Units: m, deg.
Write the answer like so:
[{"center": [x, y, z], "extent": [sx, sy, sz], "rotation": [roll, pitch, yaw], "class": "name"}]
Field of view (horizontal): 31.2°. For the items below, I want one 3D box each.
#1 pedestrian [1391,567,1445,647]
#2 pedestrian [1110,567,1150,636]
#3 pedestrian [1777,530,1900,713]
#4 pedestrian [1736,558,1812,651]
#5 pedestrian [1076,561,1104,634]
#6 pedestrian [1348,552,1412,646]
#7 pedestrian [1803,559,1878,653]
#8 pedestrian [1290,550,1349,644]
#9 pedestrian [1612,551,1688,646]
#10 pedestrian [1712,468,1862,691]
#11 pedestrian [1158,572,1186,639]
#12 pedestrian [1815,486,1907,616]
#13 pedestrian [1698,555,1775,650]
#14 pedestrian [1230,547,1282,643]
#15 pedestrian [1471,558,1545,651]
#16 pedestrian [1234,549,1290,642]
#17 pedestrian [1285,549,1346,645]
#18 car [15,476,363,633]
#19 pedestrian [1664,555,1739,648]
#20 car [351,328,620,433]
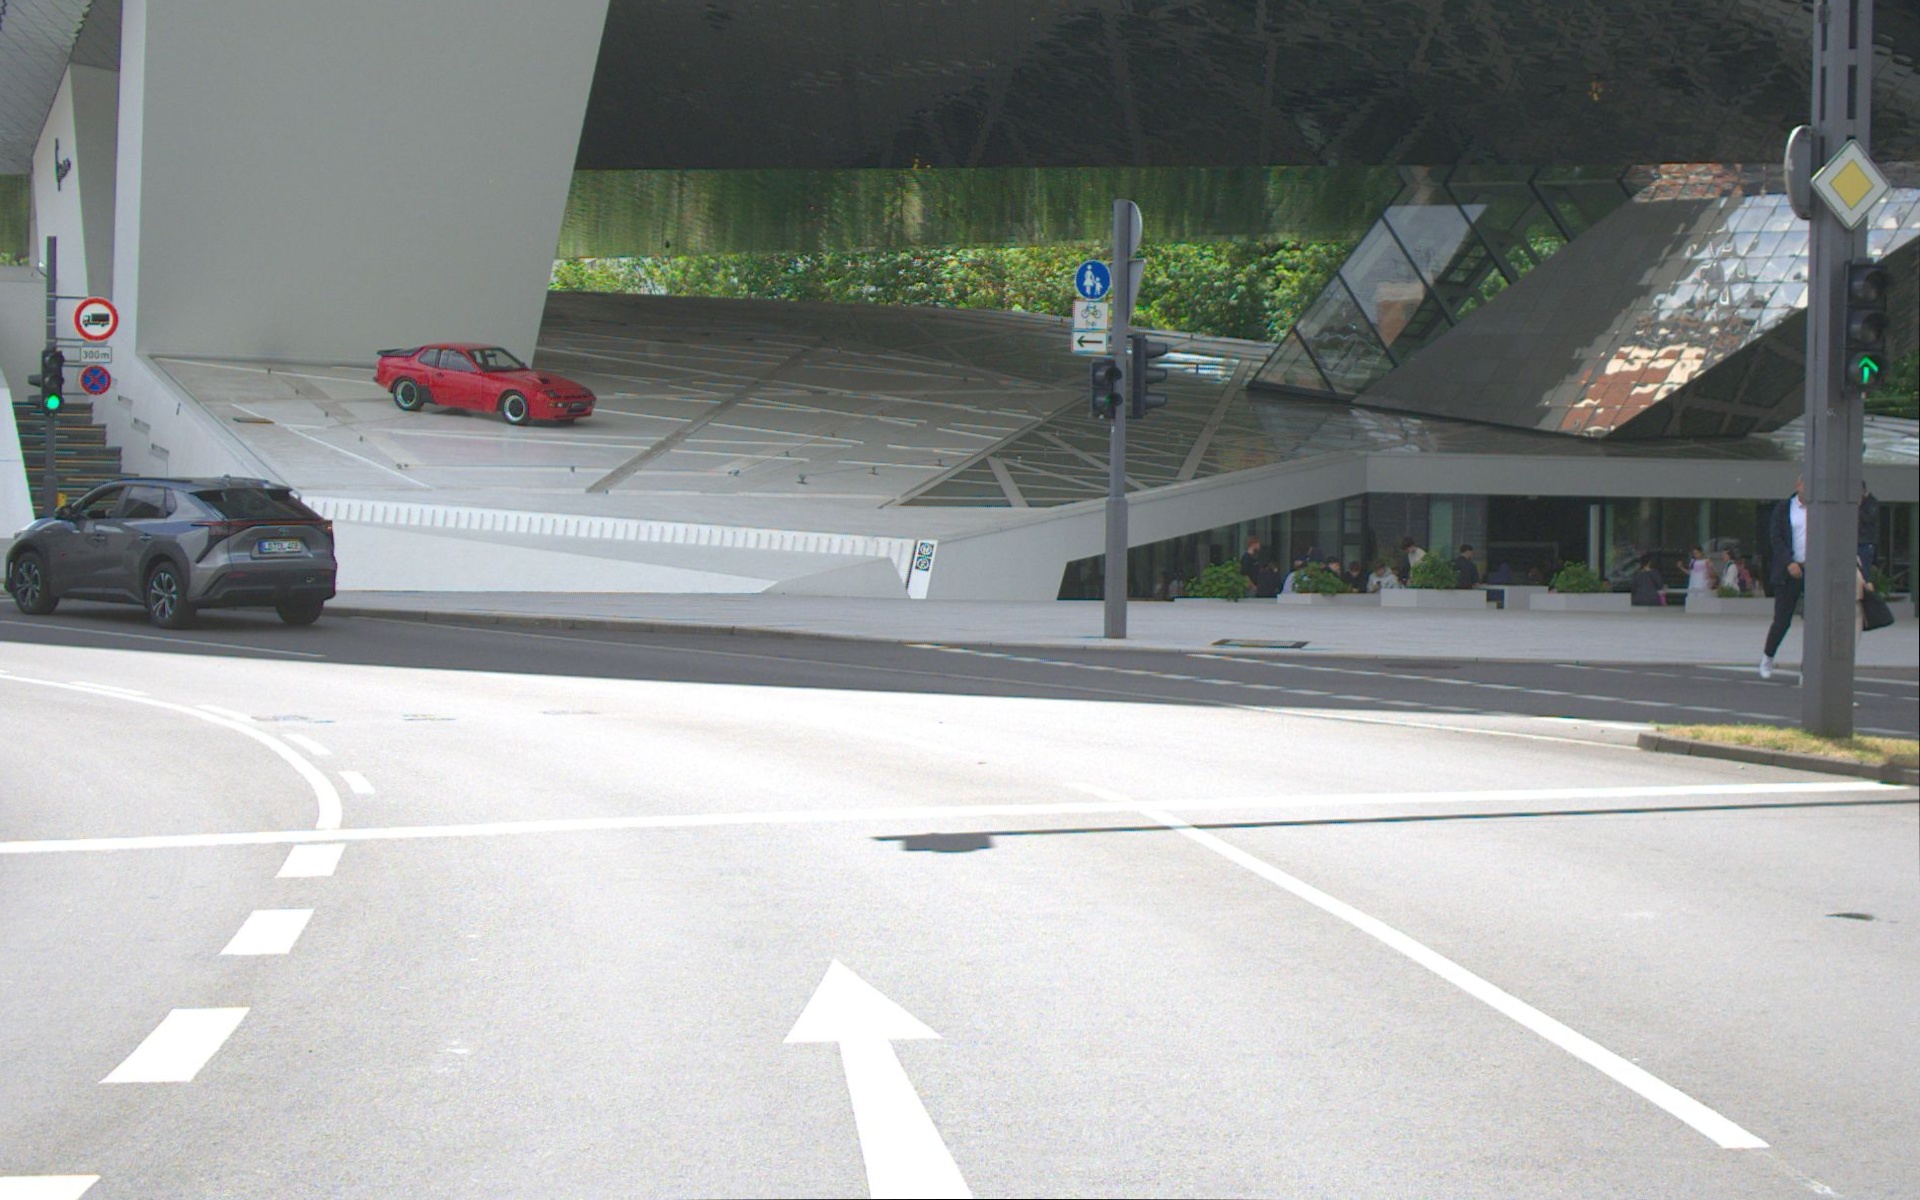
[{"center": [7.675, 0.125, 57.574], "extent": [0.644, 1.314, 0.692], "rotation": [2, 0, 31], "class": "pedestrian"}, {"center": [3.141, 0.033, 63.473], "extent": [0.560, 1.249, 0.473], "rotation": [2, 0, 23], "class": "pedestrian"}, {"center": [7.324, 0.176, 28.663], "extent": [0.771, 1.491, 0.582], "rotation": [1, 0, 41], "class": "pedestrian"}, {"center": [13.992, 0.068, 59.125], "extent": [0.827, 1.567, 0.923], "rotation": [2, 0, -26], "class": "pedestrian"}, {"center": [2.249, -0.049, 59.383], "extent": [0.394, 1.249, 0.400], "rotation": [2, 0, -6], "class": "pedestrian"}, {"center": [7.094, -0.018, 58.089], "extent": [0.795, 1.567, 0.692], "rotation": [1, 0, 35], "class": "pedestrian"}, {"center": [15.078, 0.098, 58.865], "extent": [0.827, 1.567, 0.924], "rotation": [2, 0, -20], "class": "pedestrian"}, {"center": [6.122, -0.046, 58.521], "extent": [0.921, 1.567, 0.830], "rotation": [2, 0, 10], "class": "pedestrian"}, {"center": [11.658, -0.028, 58.121], "extent": [0.827, 1.567, 0.923], "rotation": [2, 0, -26], "class": "pedestrian"}, {"center": [7.594, -0.207, 31.645], "extent": [0.953, 1.978, 1.381], "rotation": [2, 2, -1], "class": "pedestrian"}, {"center": [4.032, 0.110, 65.303], "extent": [0.472, 1.249, 0.562], "rotation": [2, 0, 5], "class": "pedestrian"}, {"center": [12.909, -0.701, 49.262], "extent": [0.827, 1.820, 0.923], "rotation": [2, 0, -26], "class": "pedestrian"}, {"center": [13.121, 0.041, 58.077], "extent": [0.827, 1.567, 0.923], "rotation": [2, 0, -26], "class": "pedestrian"}, {"center": [4.971, -0.081, 57.732], "extent": [0.828, 1.567, 0.923], "rotation": [2, 0, 5], "class": "pedestrian"}, {"center": [9.409, 0.077, 59.037], "extent": [0.827, 1.567, 0.923], "rotation": [2, 0, -26], "class": "pedestrian"}, {"center": [5.175, -0.073, 58.838], "extent": [0.828, 1.567, 0.923], "rotation": [2, 0, 10], "class": "pedestrian"}, {"center": [5.944, -0.053, 57.410], "extent": [0.921, 1.567, 0.830], "rotation": [2, 0, 10], "class": "pedestrian"}, {"center": [-8.545, -0.529, 37.930], "extent": [1.995, 1.631, 3.998], "rotation": [-1, 2, -43], "class": "car"}, {"center": [12.704, 0.023, 58.934], "extent": [0.827, 1.567, 0.923], "rotation": [2, 0, -26], "class": "pedestrian"}, {"center": [-8.656, -4.030, 62.650], "extent": [4.506, 1.390, 1.997], "rotation": [9, 9, 29], "class": "car"}]
